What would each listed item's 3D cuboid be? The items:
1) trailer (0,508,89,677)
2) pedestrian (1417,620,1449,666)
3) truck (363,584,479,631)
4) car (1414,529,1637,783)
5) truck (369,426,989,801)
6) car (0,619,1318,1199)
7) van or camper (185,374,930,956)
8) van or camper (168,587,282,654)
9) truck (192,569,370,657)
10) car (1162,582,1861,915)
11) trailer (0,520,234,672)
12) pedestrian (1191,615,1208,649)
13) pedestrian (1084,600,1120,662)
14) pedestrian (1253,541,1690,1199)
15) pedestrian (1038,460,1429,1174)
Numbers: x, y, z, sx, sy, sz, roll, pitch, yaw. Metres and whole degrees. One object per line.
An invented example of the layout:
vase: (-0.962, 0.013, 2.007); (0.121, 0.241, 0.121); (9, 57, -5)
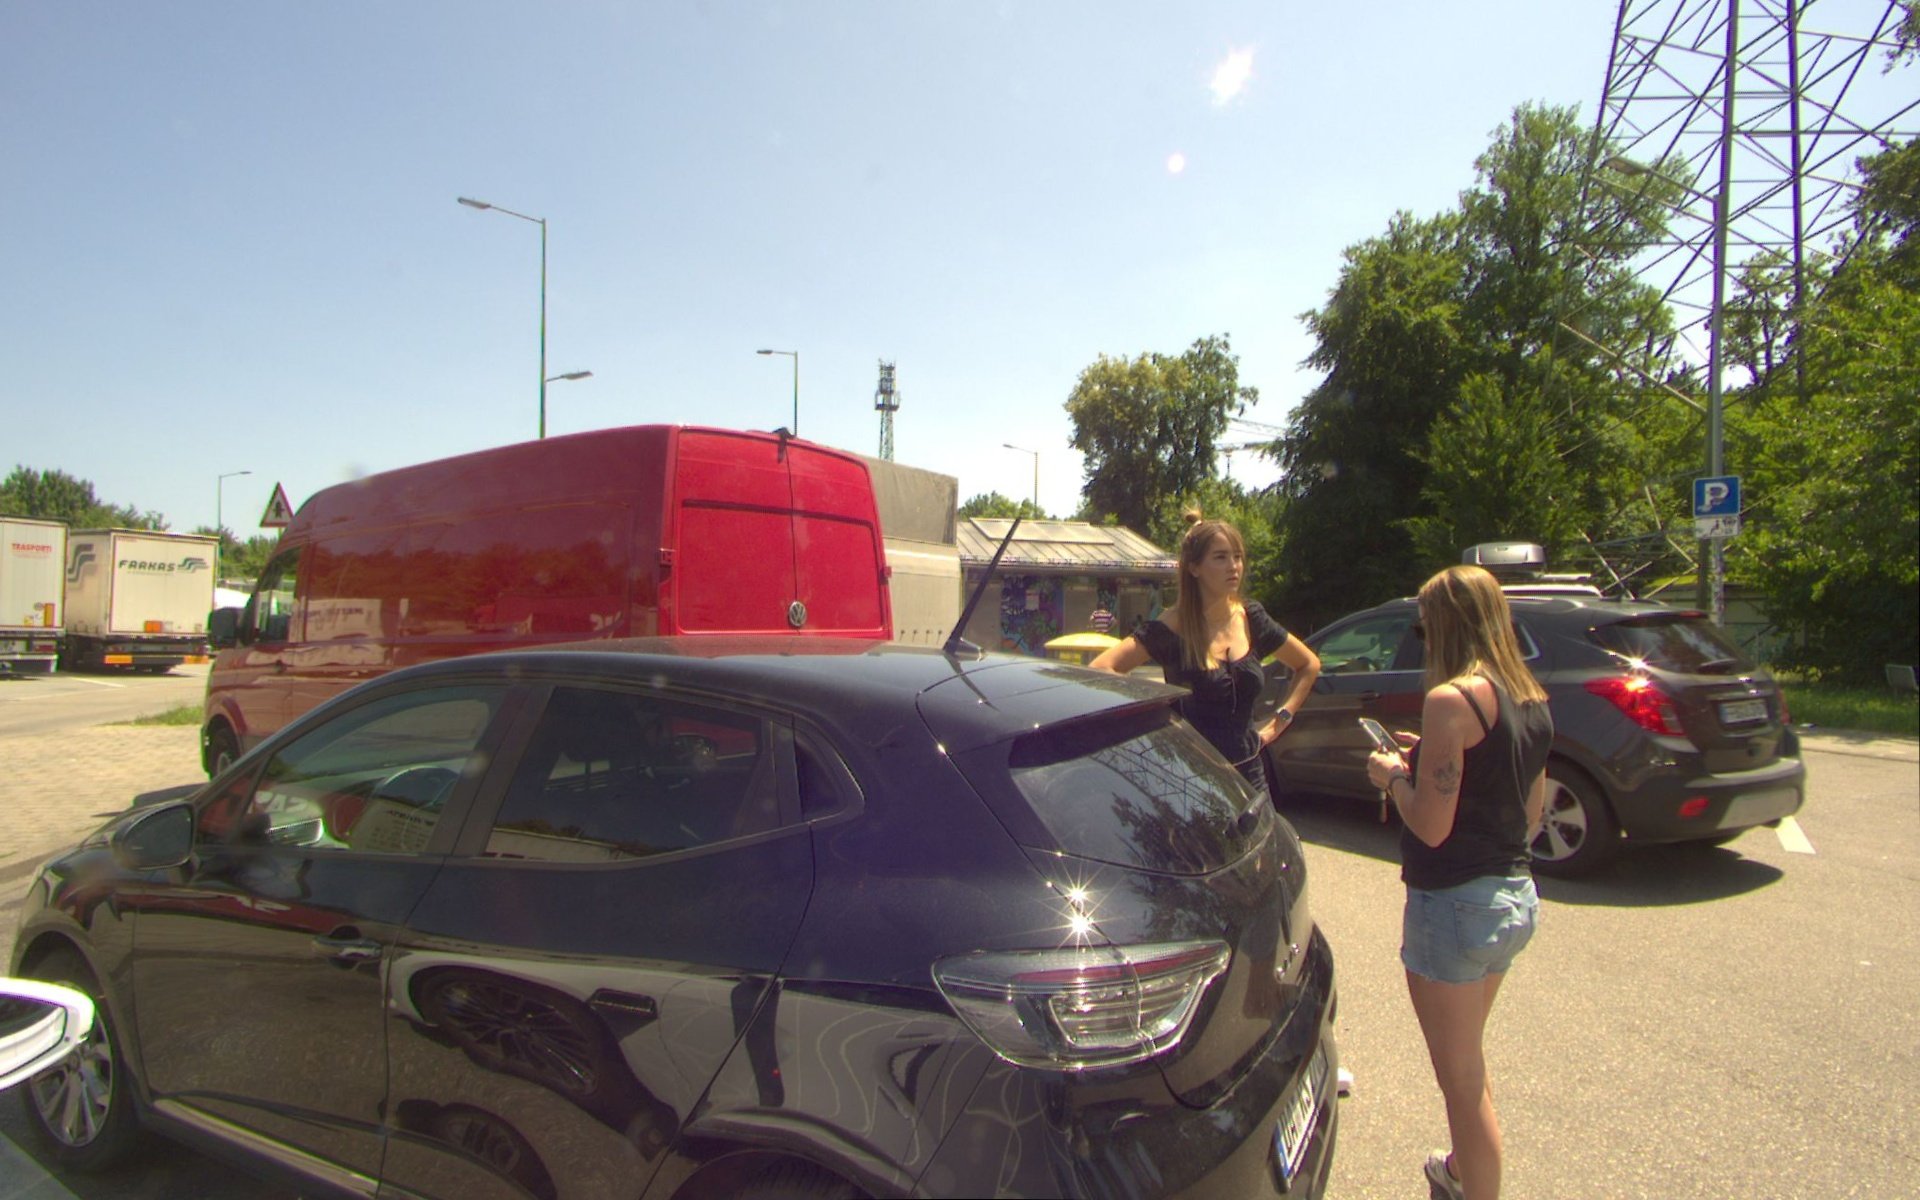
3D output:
trailer: (-28.342, -0.325, 27.786); (12.255, 4.090, 2.862); (2, -1, 33)
pedestrian: (14.776, 1.339, 31.276); (0.695, 1.392, 0.607); (1, 0, -3)
truck: (-34.708, 0.480, 64.266); (9.637, 2.857, 2.121); (0, -1, 33)
car: (6.552, 0.570, 11.545); (1.892, 2.354, 4.074); (-1, -1, 32)
truck: (-3.248, 0.134, 10.545); (6.874, 2.828, 2.460); (0, -1, 35)
car: (-1.047, 0.835, 2.832); (3.706, 1.503, 1.615); (0, -1, 27)
van or camper: (-3.354, 0.325, 7.339); (6.394, 2.688, 1.990); (0, -1, 36)
van or camper: (-30.398, 0.828, 41.373); (5.296, 2.595, 2.100); (0, -1, 34)
truck: (-31.679, 0.516, 46.463); (11.255, 3.615, 2.484); (2, -1, 33)
car: (3.511, 0.775, 7.156); (1.824, 1.644, 4.027); (1, -1, -31)
trailer: (-27.281, -0.194, 31.451); (12.255, 4.090, 2.862); (2, -1, 33)
pedestrian: (11.078, 1.473, 46.358); (0.577, 1.536, 0.592); (1, 0, -10)
pedestrian: (3.842, 0.837, 27.092); (0.742, 1.629, 0.765); (1, 0, -8)
pedestrian: (1.163, 0.698, 2.375); (0.642, 1.606, 0.648); (1, 0, -14)
pedestrian: (0.820, 0.591, 3.168); (0.901, 1.896, 0.772); (1, 0, -17)
